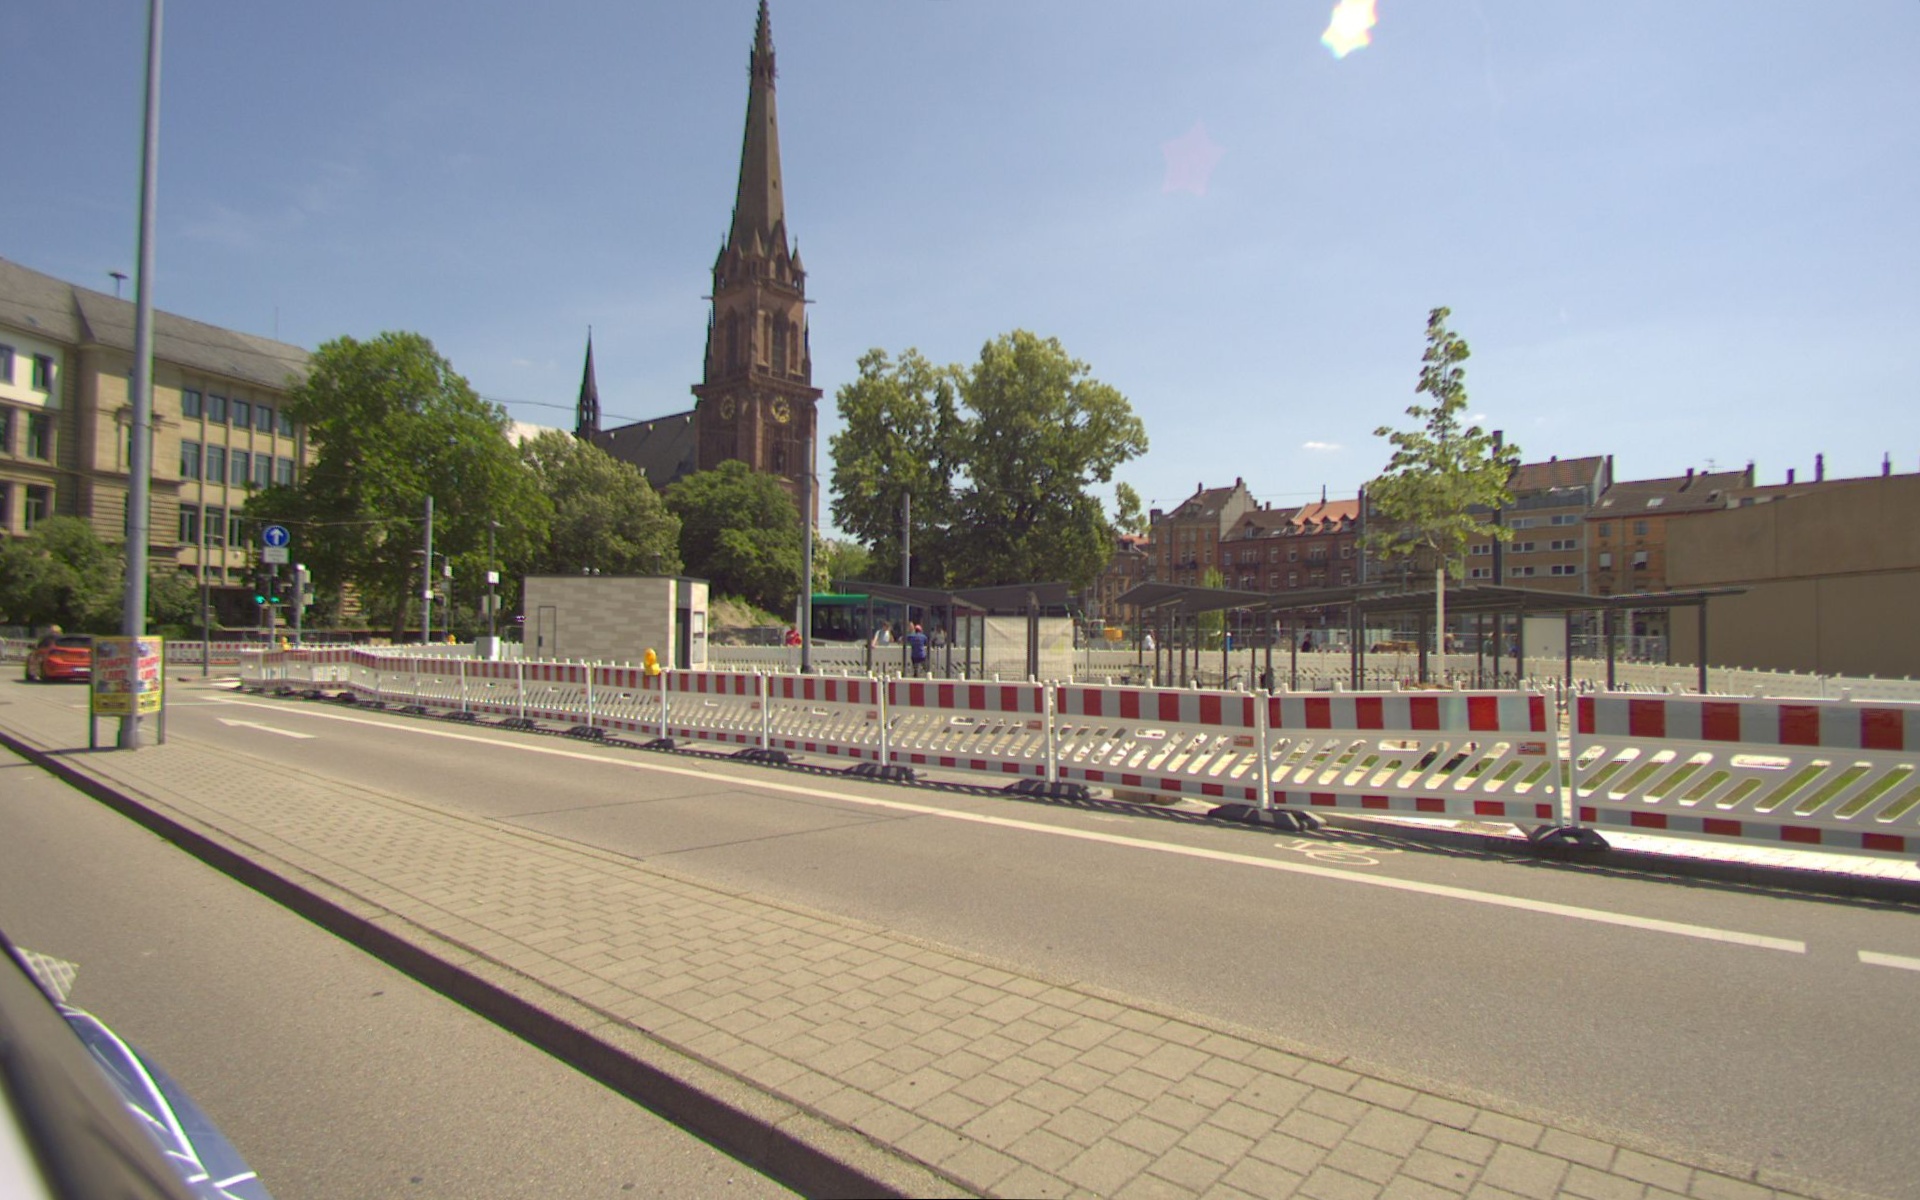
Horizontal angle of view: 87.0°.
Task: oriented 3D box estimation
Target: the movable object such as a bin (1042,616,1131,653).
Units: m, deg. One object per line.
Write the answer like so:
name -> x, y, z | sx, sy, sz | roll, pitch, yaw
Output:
movable object such as a bin -> 12.022, 3.265, 96.382 | 7.929, 3.414, 2.885 | -1, -1, 25

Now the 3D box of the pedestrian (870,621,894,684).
pedestrian -> -2.248, 1.502, 29.073 | 0.649, 1.769, 0.541 | -1, -1, -4

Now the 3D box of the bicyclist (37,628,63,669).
bicyclist -> -37.952, 2.019, 42.202 | 0.798, 1.678, 0.580 | -1, -4, 38

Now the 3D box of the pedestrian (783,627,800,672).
pedestrian -> -6.455, 1.883, 38.732 | 0.556, 1.714, 0.582 | -1, -1, -13

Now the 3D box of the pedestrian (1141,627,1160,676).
pedestrian -> 7.382, 2.003, 39.299 | 0.598, 1.872, 0.699 | -1, -1, 1

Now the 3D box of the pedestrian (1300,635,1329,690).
pedestrian -> 13.237, 2.329, 37.765 | 0.869, 2.029, 0.694 | -1, -1, 10

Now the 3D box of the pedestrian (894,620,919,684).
pedestrian -> -1.535, 1.481, 29.167 | 0.630, 1.802, 0.644 | -1, -1, 5

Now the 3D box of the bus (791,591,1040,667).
bus -> -1.852, 1.259, 44.020 | 10.476, 3.076, 2.849 | -1, -1, 7

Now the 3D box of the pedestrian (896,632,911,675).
pedestrian -> -2.232, 2.090, 39.867 | 0.539, 1.667, 0.626 | -1, -1, 1

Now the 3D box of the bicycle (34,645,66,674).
bicycle -> -37.914, 2.466, 42.154 | 2.007, 1.159, 0.582 | -1, -5, 38

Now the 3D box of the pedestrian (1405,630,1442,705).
pedestrian -> 12.904, 1.875, 28.189 | 0.637, 2.029, 0.762 | -1, -1, -1

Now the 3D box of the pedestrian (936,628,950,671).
pedestrian -> -0.651, 1.930, 39.699 | 0.513, 1.632, 0.537 | -1, -1, 1

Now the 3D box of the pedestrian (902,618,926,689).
pedestrian -> -1.273, 1.472, 28.040 | 0.569, 1.920, 0.692 | -1, -1, 4

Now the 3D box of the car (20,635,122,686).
car -> -26.185, 1.755, 29.765 | 4.011, 1.388, 1.670 | -1, -4, 41
